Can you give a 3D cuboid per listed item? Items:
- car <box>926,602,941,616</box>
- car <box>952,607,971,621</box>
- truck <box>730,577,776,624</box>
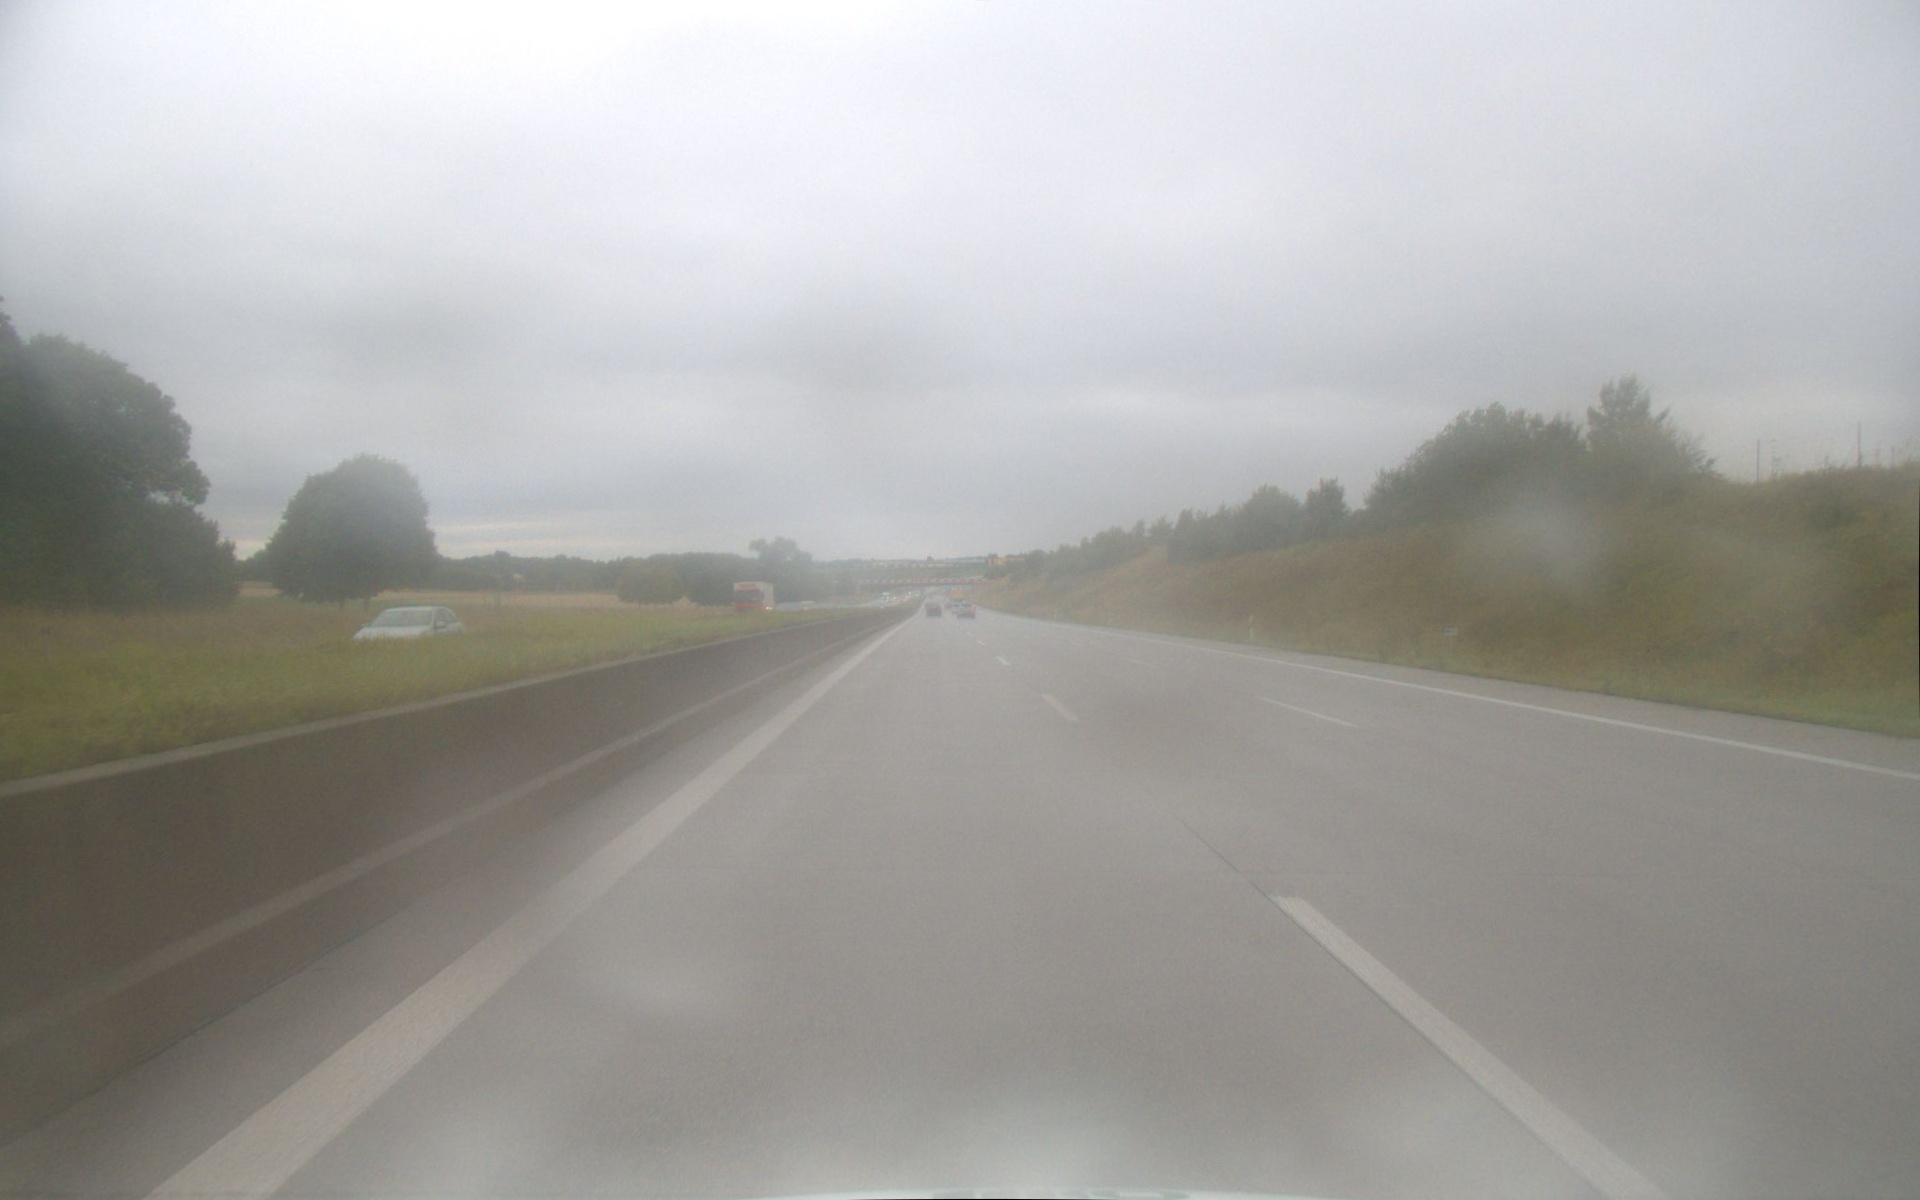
[{"bbox_3d":[-2.951,0.990,184.281,1.694,1.354,4.429,0,1,-1],"label":"car"},{"bbox_3d":[0.145,1.423,168.872,1.810,1.354,4.428,0,1,-3],"label":"car"},{"bbox_3d":[-18.417,-0.056,147.871,2.844,3.923,12.447,-1,1,-1],"label":"truck"}]
